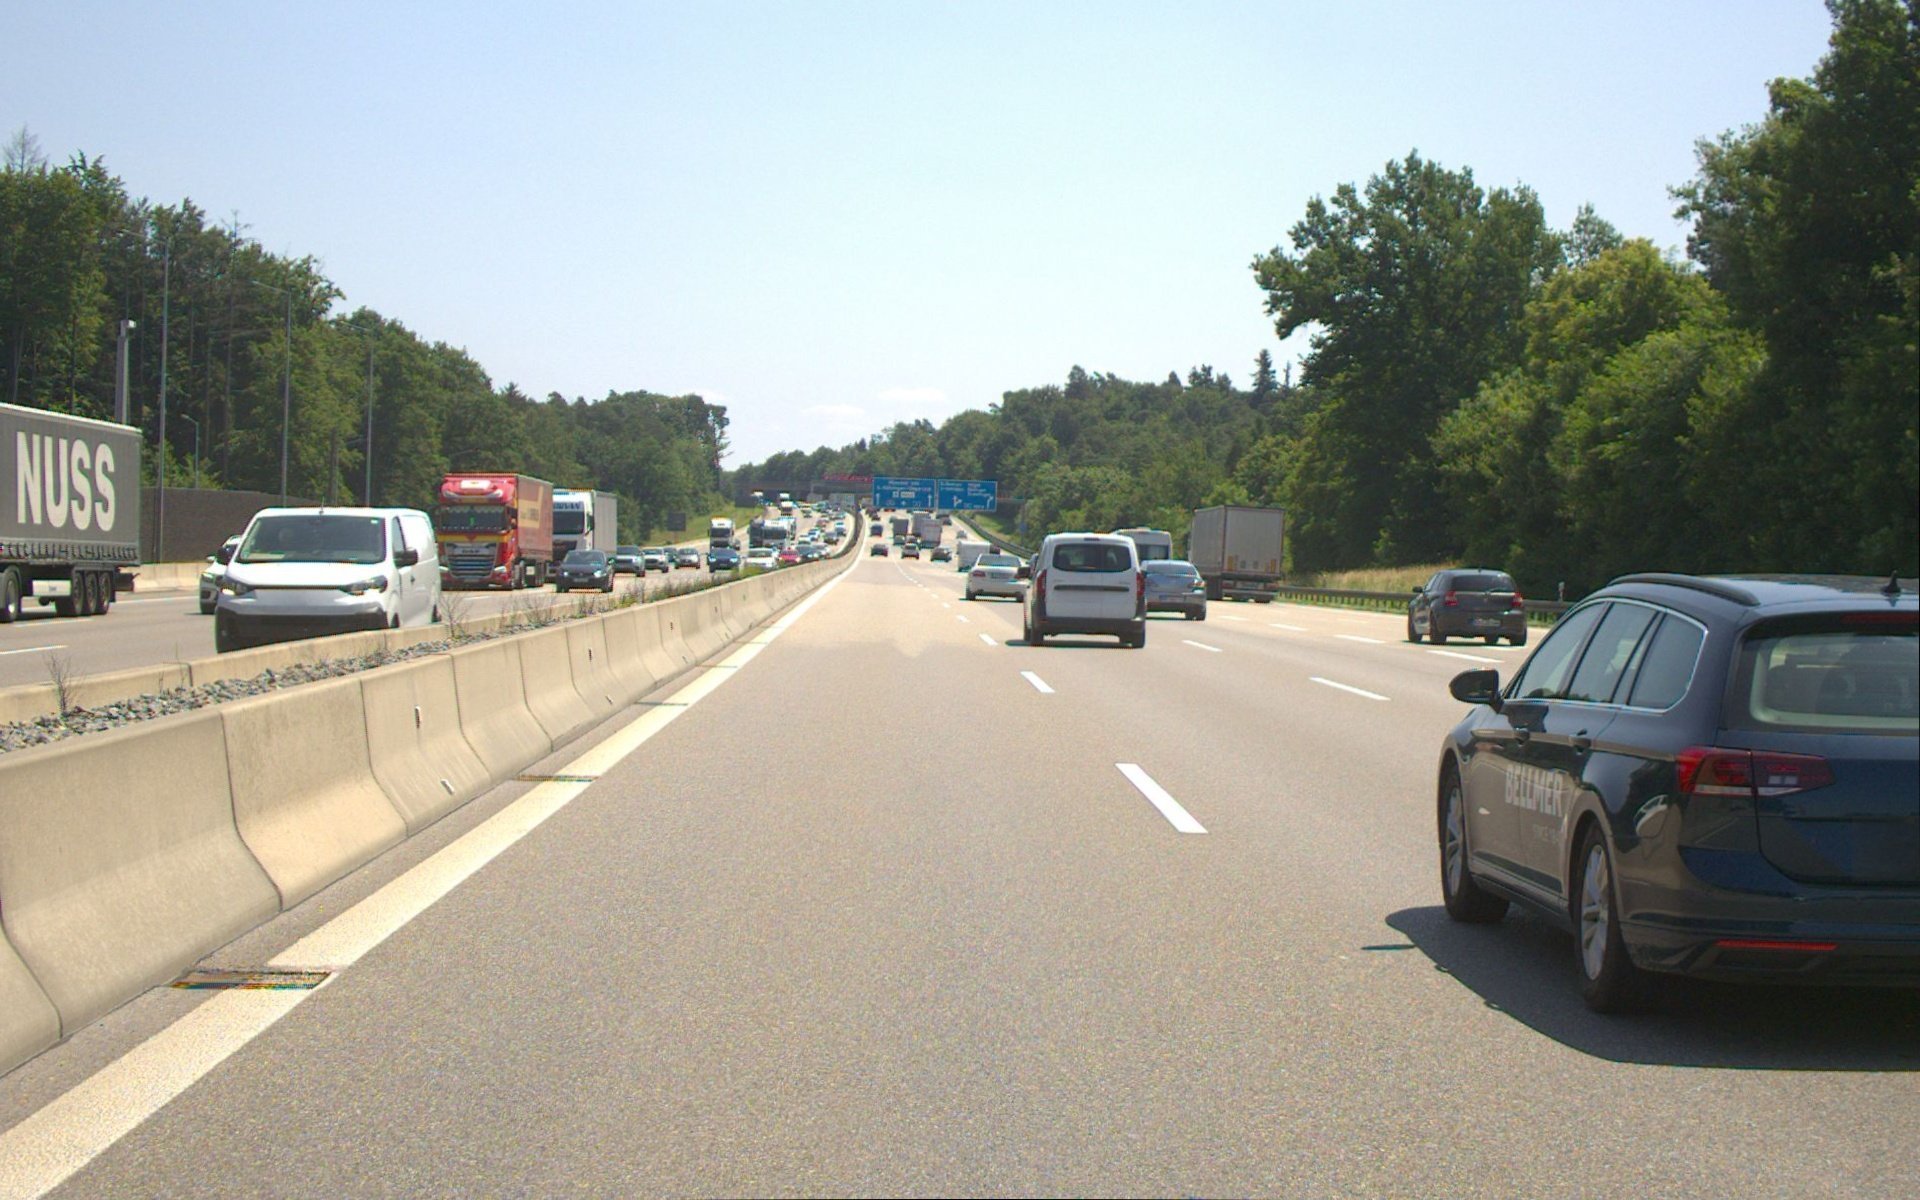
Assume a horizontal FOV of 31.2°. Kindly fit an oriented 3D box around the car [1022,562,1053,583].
[{"bbox_3d":[5.232,-1.868,232.245,1.835,1.333,3.643,1,1,-2],"label":"car"}]

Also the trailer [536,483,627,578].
[{"bbox_3d":[-16.903,-3.093,154.366,2.754,3.987,14.468,1,1,-1],"label":"trailer"}]

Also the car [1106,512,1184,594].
[{"bbox_3d":[6.329,-1.643,118.137,2.143,2.643,5.710,3,2,-1],"label":"car"}]

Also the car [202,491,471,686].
[{"bbox_3d":[-7.004,-0.165,39.244,2.077,2.037,5.712,1,1,-1],"label":"car"}]

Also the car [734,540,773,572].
[{"bbox_3d":[-11.579,-2.474,193.152,1.993,1.768,5.039,1,1,-1],"label":"car"}]

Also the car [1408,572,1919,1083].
[{"bbox_3d":[2.853,0.648,12.494,1.729,1.442,4.961,1,1,-1],"label":"car"}]

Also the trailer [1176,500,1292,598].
[{"bbox_3d":[11.925,-2.343,150.995,3.287,3.917,13.892,3,2,-2],"label":"trailer"}]

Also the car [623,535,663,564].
[{"bbox_3d":[-19.739,-3.153,214.273,1.993,1.768,5.924,1,1,-1],"label":"car"}]

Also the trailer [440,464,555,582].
[{"bbox_3d":[-16.945,-2.784,126.795,2.571,4.036,14.183,1,1,-1],"label":"trailer"}]

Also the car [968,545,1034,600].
[{"bbox_3d":[1.252,-0.867,106.644,1.843,1.623,4.554,1,1,-2],"label":"car"}]

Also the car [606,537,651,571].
[{"bbox_3d":[-17.859,-2.503,185.448,1.993,1.768,5.039,1,1,-1],"label":"car"}]

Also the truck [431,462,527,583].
[{"bbox_3d":[-16.739,-2.689,119.949,2.527,4.035,6.473,1,1,-1],"label":"truck"}]

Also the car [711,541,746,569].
[{"bbox_3d":[-15.190,-2.983,226.040,1.993,1.768,5.924,1,1,-1],"label":"car"}]

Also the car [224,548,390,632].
[{"bbox_3d":[-11.420,-0.196,60.462,1.993,1.372,5.011,1,1,-1],"label":"car"}]

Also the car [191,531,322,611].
[{"bbox_3d":[-15.305,-0.647,74.979,1.993,1.665,4.612,1,1,-1],"label":"car"}]

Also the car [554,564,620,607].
[{"bbox_3d":[-12.499,-0.499,115.505,1.821,1.382,4.316,1,1,-1],"label":"car"}]

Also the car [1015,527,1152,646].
[{"bbox_3d":[1.961,-0.246,55.827,1.859,1.819,4.613,1,1,-2],"label":"car"}]

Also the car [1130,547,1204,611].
[{"bbox_3d":[5.042,-0.520,84.126,1.503,1.495,3.650,1,1,-1],"label":"car"}]

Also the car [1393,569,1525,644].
[{"bbox_3d":[9.289,0.096,64.297,1.670,1.269,4.290,3,1,-2],"label":"car"}]

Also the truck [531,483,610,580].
[{"bbox_3d":[-16.700,-2.900,147.752,2.734,4.017,6.782,1,1,-1],"label":"truck"}]

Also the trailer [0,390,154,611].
[{"bbox_3d":[-19.113,-1.901,67.889,3.342,3.987,14.280,1,1,-1],"label":"trailer"}]

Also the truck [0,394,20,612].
[{"bbox_3d":[-18.890,-1.746,60.423,3.287,3.917,5.540,1,1,-1],"label":"truck"}]
